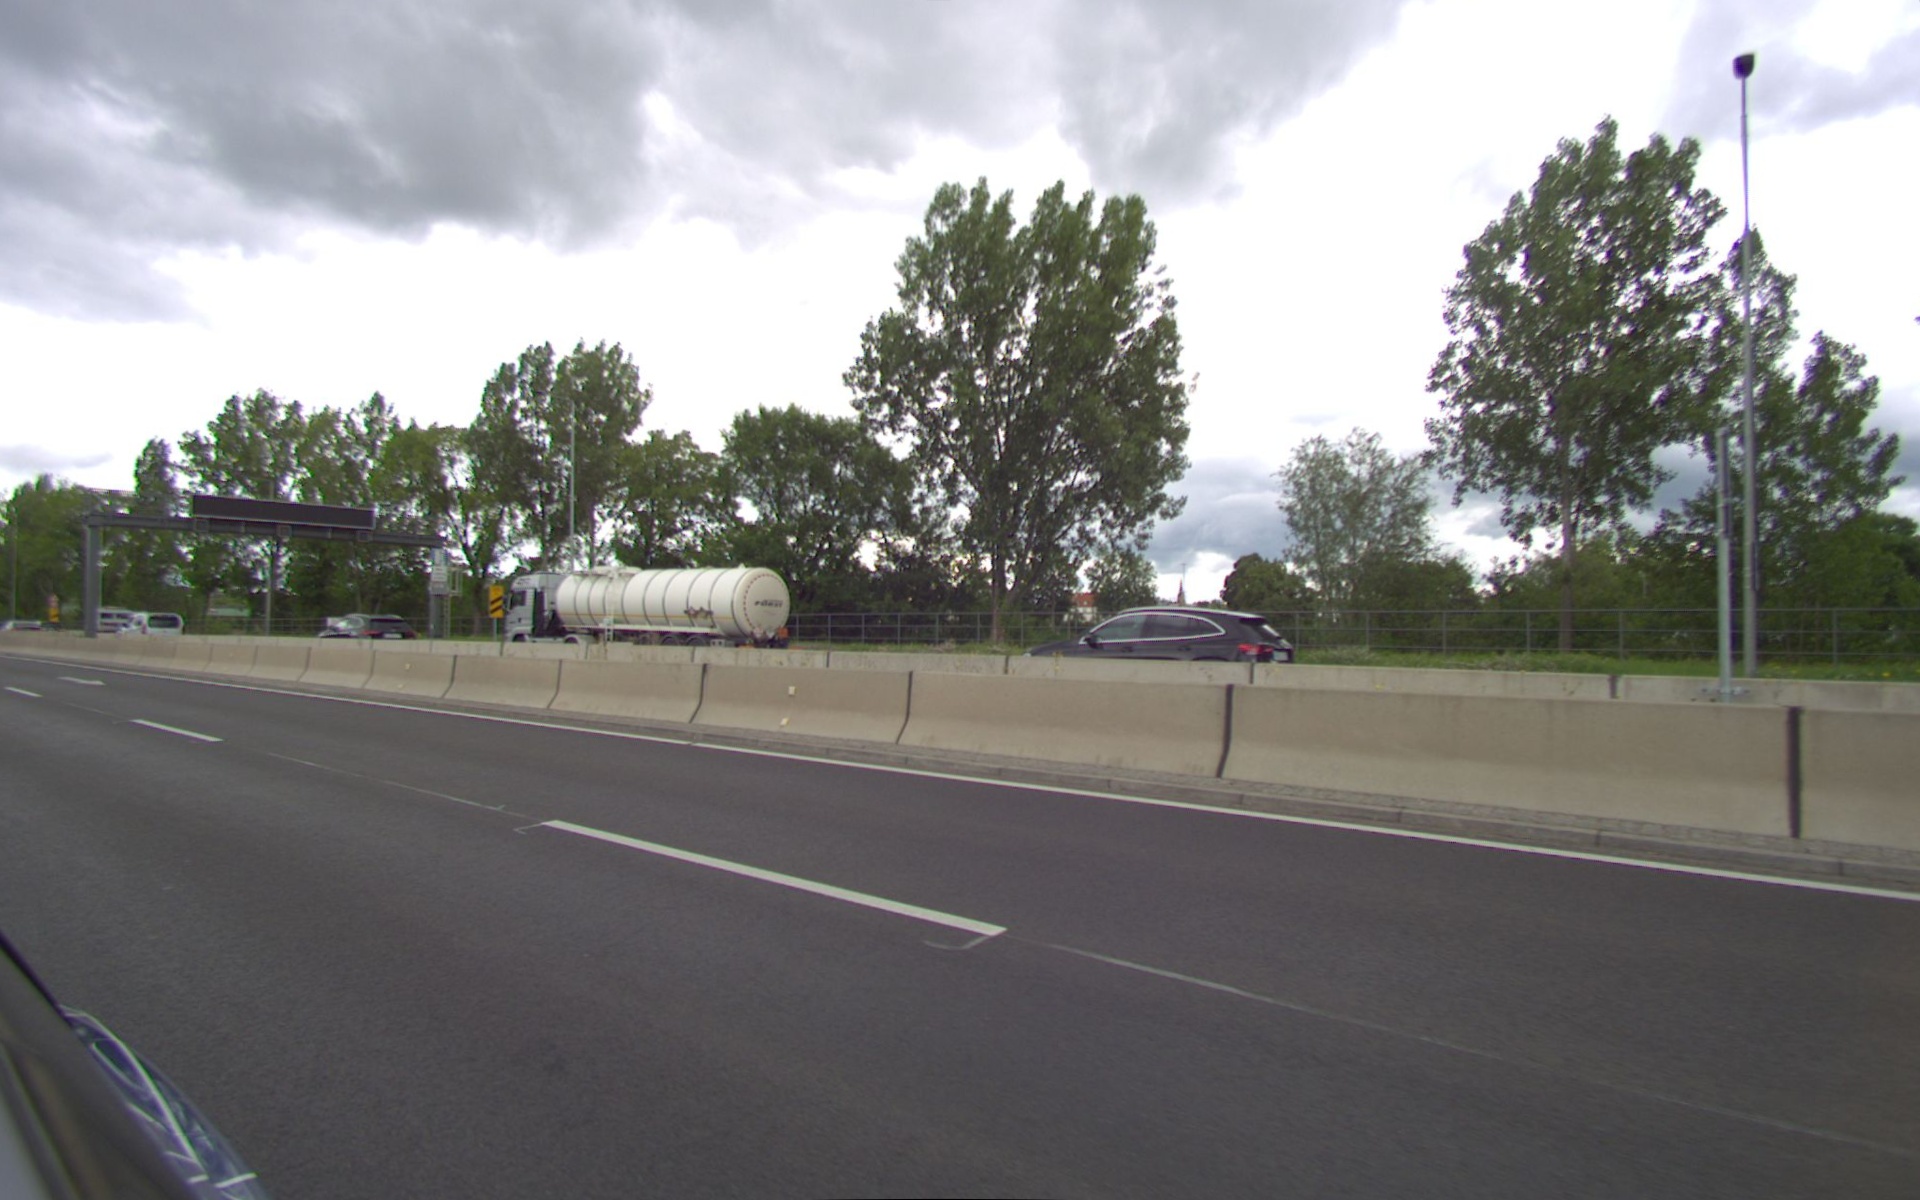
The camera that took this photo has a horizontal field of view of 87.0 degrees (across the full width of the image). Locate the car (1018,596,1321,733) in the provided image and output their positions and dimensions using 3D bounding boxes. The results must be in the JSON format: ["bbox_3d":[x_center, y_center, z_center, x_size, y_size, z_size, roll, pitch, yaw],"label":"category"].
[{"bbox_3d":[3.068,0.877,15.220,3.997,1.752,1.973,-2,0,40],"label":"car"}]

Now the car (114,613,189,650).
[{"bbox_3d":[-39.491,1.530,49.415,4.693,1.630,1.973,-2,0,40],"label":"car"}]

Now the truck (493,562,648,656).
[{"bbox_3d":[-14.593,0.343,37.811,5.385,3.243,3.068,-2,0,39],"label":"truck"}]

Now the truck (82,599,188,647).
[{"bbox_3d":[-59.831,1.678,73.135,15.868,3.130,2.826,-2,0,39],"label":"truck"}]

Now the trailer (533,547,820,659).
[{"bbox_3d":[-9.886,0.196,34.034,11.654,3.244,3.070,-2,0,39],"label":"trailer"}]

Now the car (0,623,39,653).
[{"bbox_3d":[-63.352,2.545,67.825,3.996,1.918,1.798,-2,0,39],"label":"car"}]

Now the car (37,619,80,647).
[{"bbox_3d":[-66.214,2.413,74.337,4.097,1.891,1.798,-2,0,40],"label":"car"}]

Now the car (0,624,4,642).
[{"bbox_3d":[-105.861,3.635,110.351,3.999,2.029,1.972,-2,0,42],"label":"car"}]

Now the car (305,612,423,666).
[{"bbox_3d":[-19.943,1.261,33.785,4.693,1.630,1.973,-2,0,40],"label":"car"}]
